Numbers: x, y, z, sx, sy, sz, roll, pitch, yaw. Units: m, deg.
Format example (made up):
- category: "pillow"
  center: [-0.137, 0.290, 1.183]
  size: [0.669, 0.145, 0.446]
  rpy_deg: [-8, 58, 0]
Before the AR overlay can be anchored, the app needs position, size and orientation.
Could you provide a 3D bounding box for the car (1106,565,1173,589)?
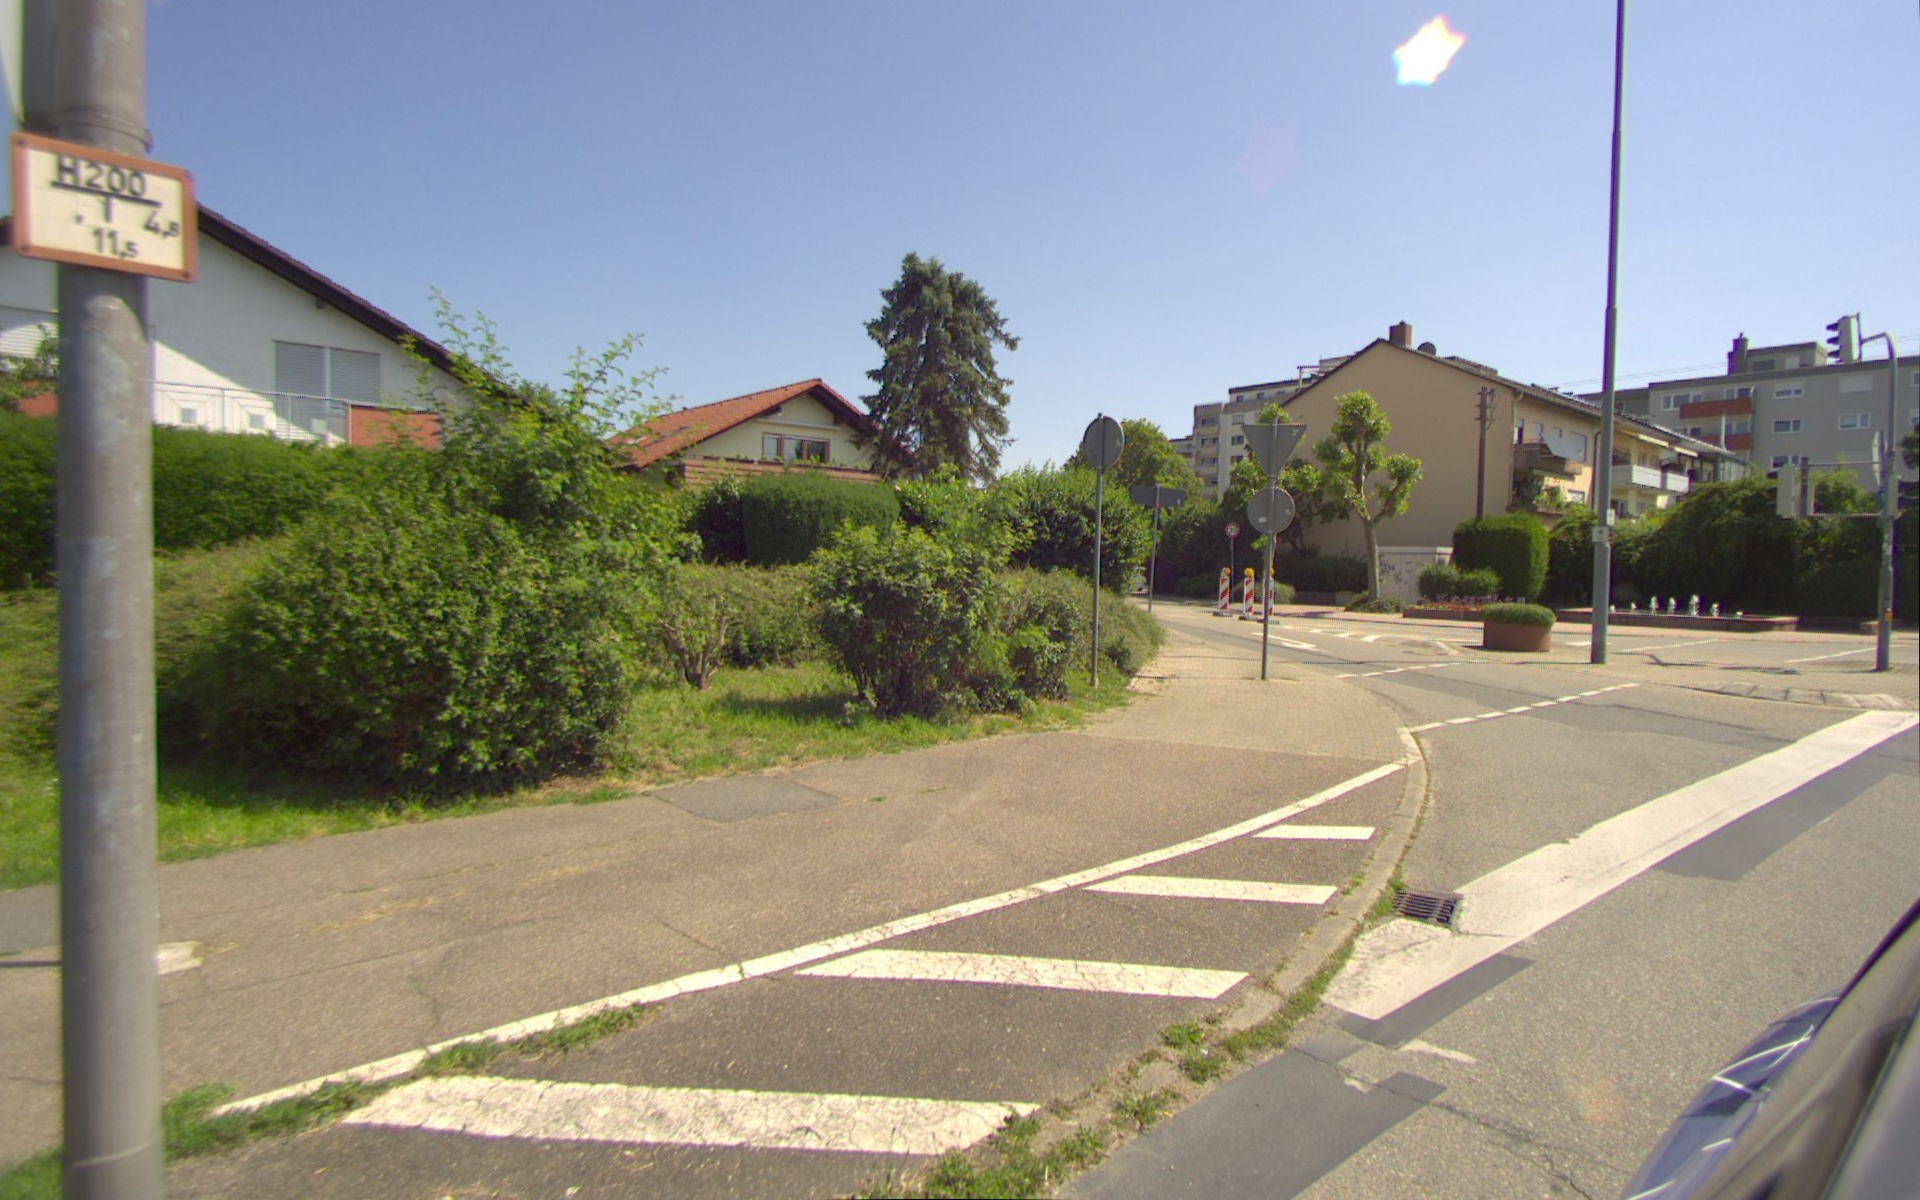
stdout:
- category: "car"
  center: [11.847, -1.538, 66.934]
  size: [1.912, 1.482, 3.992]
  rpy_deg: [-1, 3, -44]
